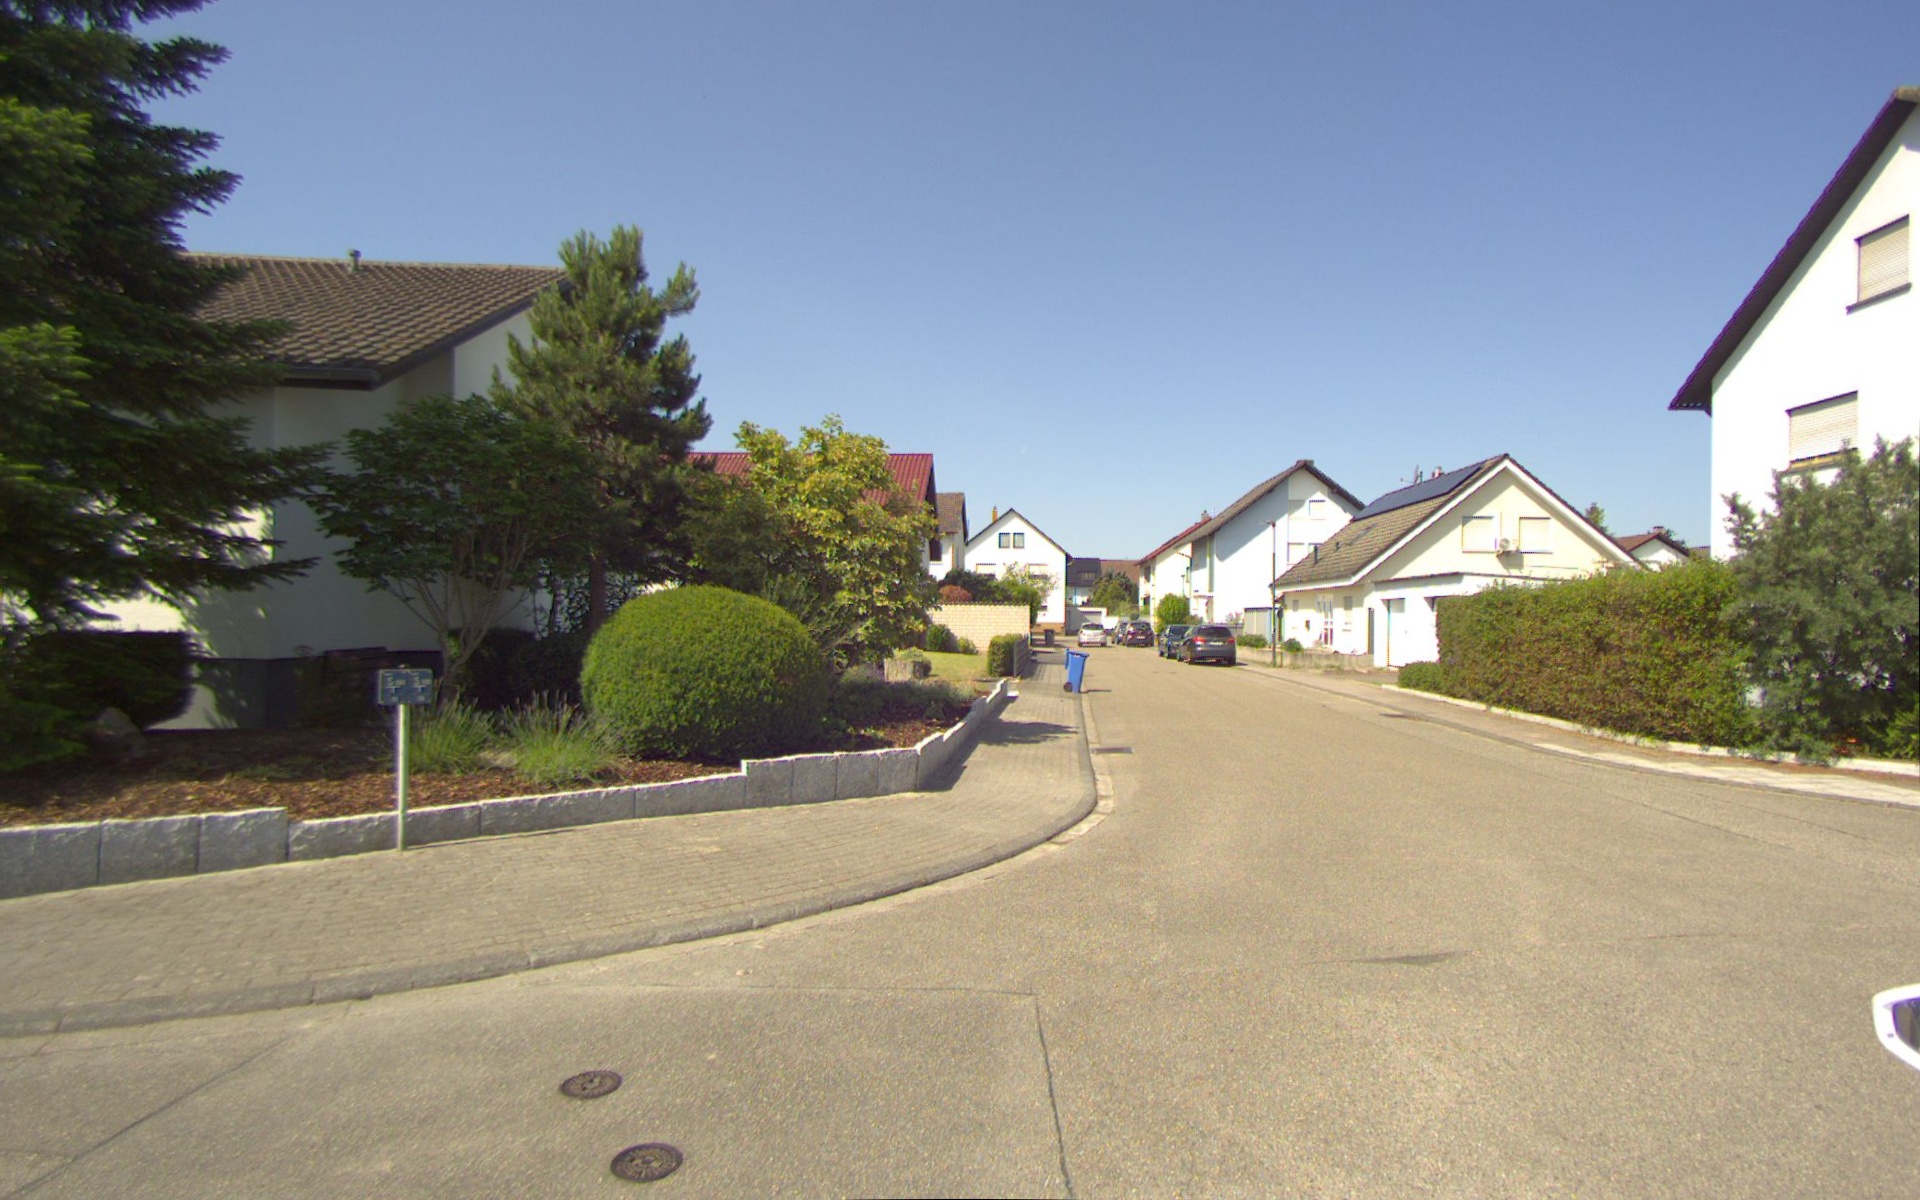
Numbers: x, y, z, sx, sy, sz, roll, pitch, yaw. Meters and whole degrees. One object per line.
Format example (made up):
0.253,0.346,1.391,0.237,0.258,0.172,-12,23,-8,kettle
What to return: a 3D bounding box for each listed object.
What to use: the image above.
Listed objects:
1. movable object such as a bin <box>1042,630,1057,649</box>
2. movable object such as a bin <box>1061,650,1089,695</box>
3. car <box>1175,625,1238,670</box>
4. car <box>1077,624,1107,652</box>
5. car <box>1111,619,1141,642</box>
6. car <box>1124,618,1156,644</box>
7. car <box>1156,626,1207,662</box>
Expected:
5.165,2.252,58.020,0.804,1.077,0.611,1,-1,3,movable object such as a bin
2.554,1.599,22.271,0.573,0.928,0.598,2,-1,5,movable object such as a bin
9.431,1.768,38.701,1.614,1.498,4.001,3,0,3,car
8.088,2.302,61.866,1.617,1.602,3.811,1,-1,4,car
11.583,2.115,70.282,1.617,1.566,4.049,1,-1,2,car
11.629,1.980,65.011,1.617,1.602,4.149,1,-1,4,car
9.788,1.910,44.685,1.688,1.457,4.505,1,-1,6,car
